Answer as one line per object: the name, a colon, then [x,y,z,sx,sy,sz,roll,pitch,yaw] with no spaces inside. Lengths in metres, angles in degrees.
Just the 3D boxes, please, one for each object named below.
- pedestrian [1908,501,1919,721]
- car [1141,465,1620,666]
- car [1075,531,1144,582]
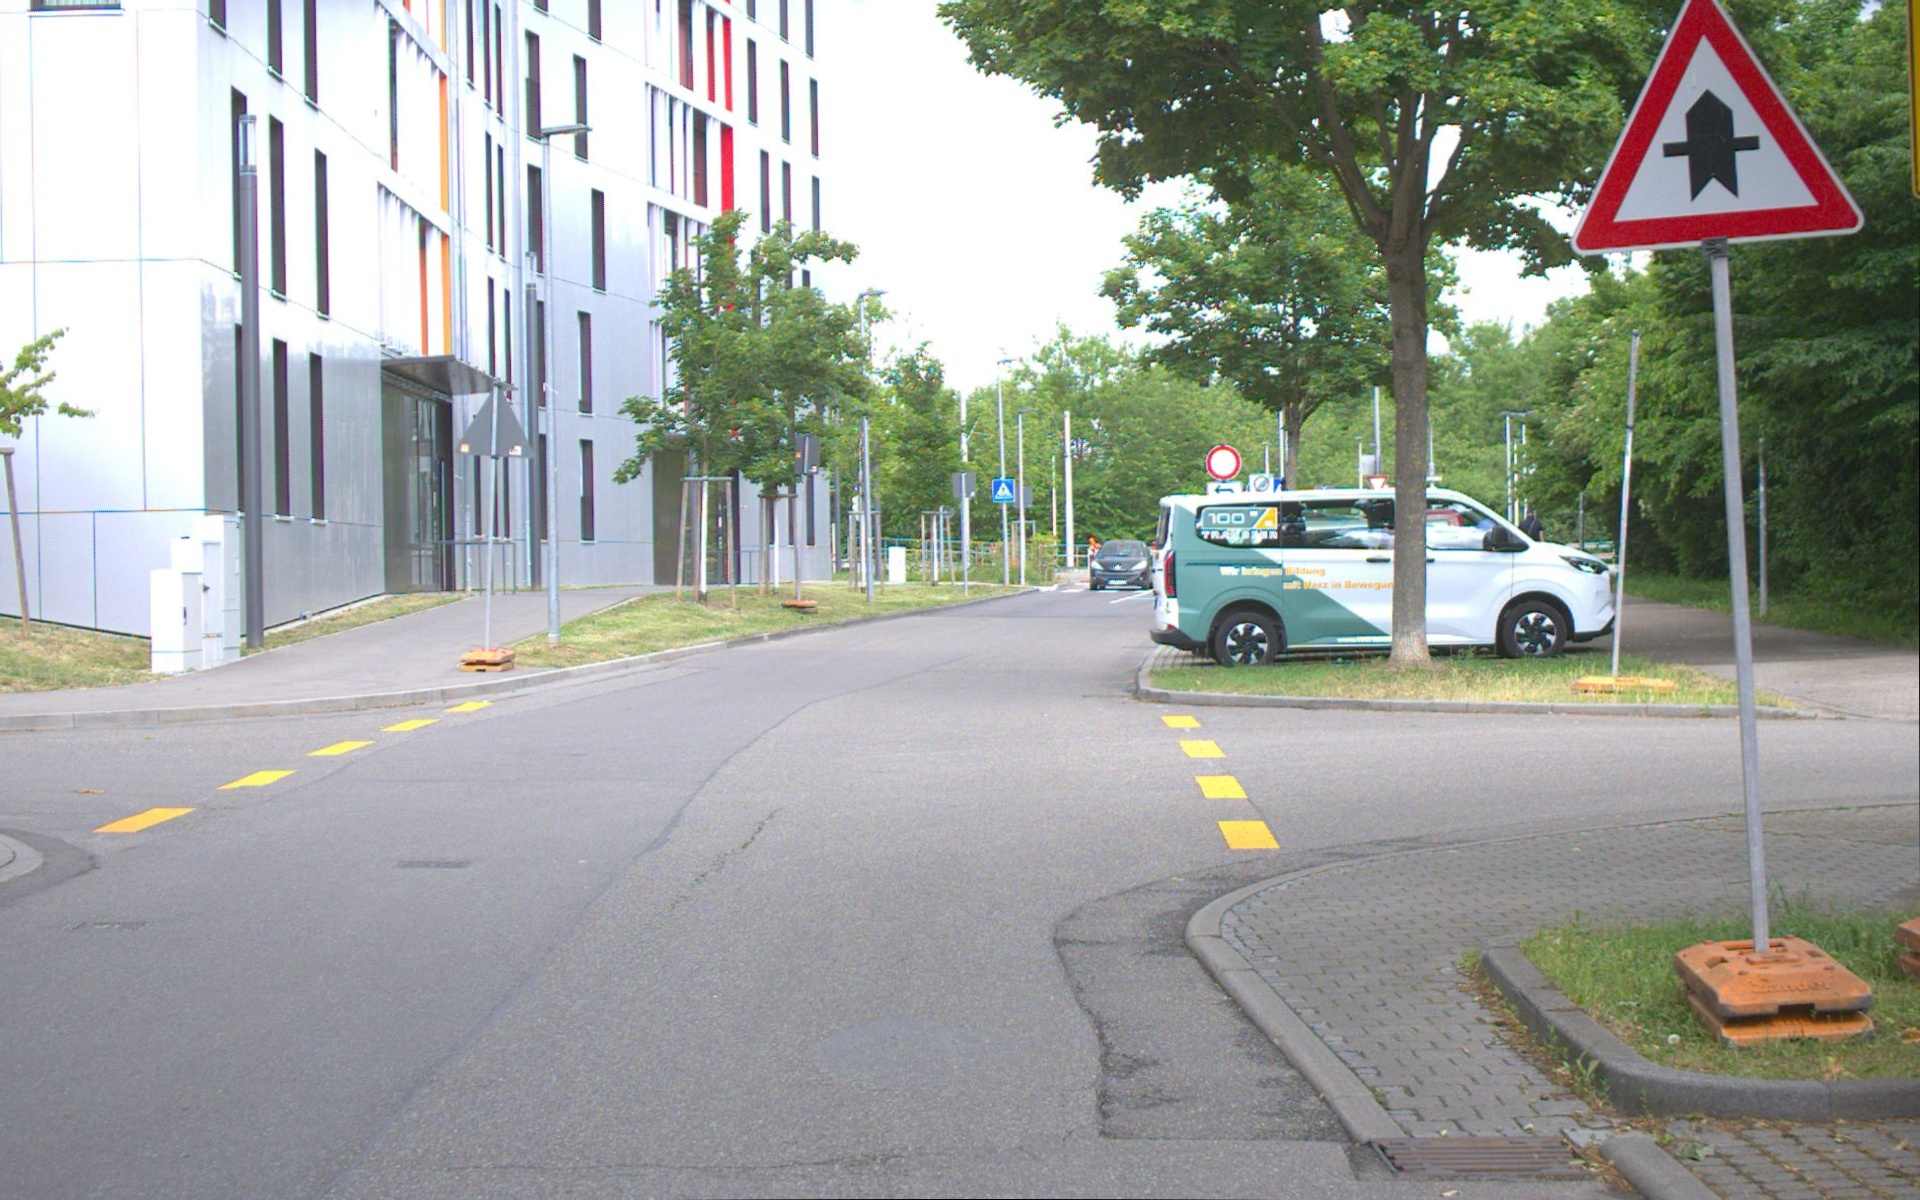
pedestrian: [7.269,0.079,24.538,0.834,1.571,0.809,0,1,6]
car: [4.552,-0.386,37.742,4.972,1.965,1.847,-2,1,1]
car: [4.255,-1.246,97.672,1.609,1.383,3.999,1,1,7]
